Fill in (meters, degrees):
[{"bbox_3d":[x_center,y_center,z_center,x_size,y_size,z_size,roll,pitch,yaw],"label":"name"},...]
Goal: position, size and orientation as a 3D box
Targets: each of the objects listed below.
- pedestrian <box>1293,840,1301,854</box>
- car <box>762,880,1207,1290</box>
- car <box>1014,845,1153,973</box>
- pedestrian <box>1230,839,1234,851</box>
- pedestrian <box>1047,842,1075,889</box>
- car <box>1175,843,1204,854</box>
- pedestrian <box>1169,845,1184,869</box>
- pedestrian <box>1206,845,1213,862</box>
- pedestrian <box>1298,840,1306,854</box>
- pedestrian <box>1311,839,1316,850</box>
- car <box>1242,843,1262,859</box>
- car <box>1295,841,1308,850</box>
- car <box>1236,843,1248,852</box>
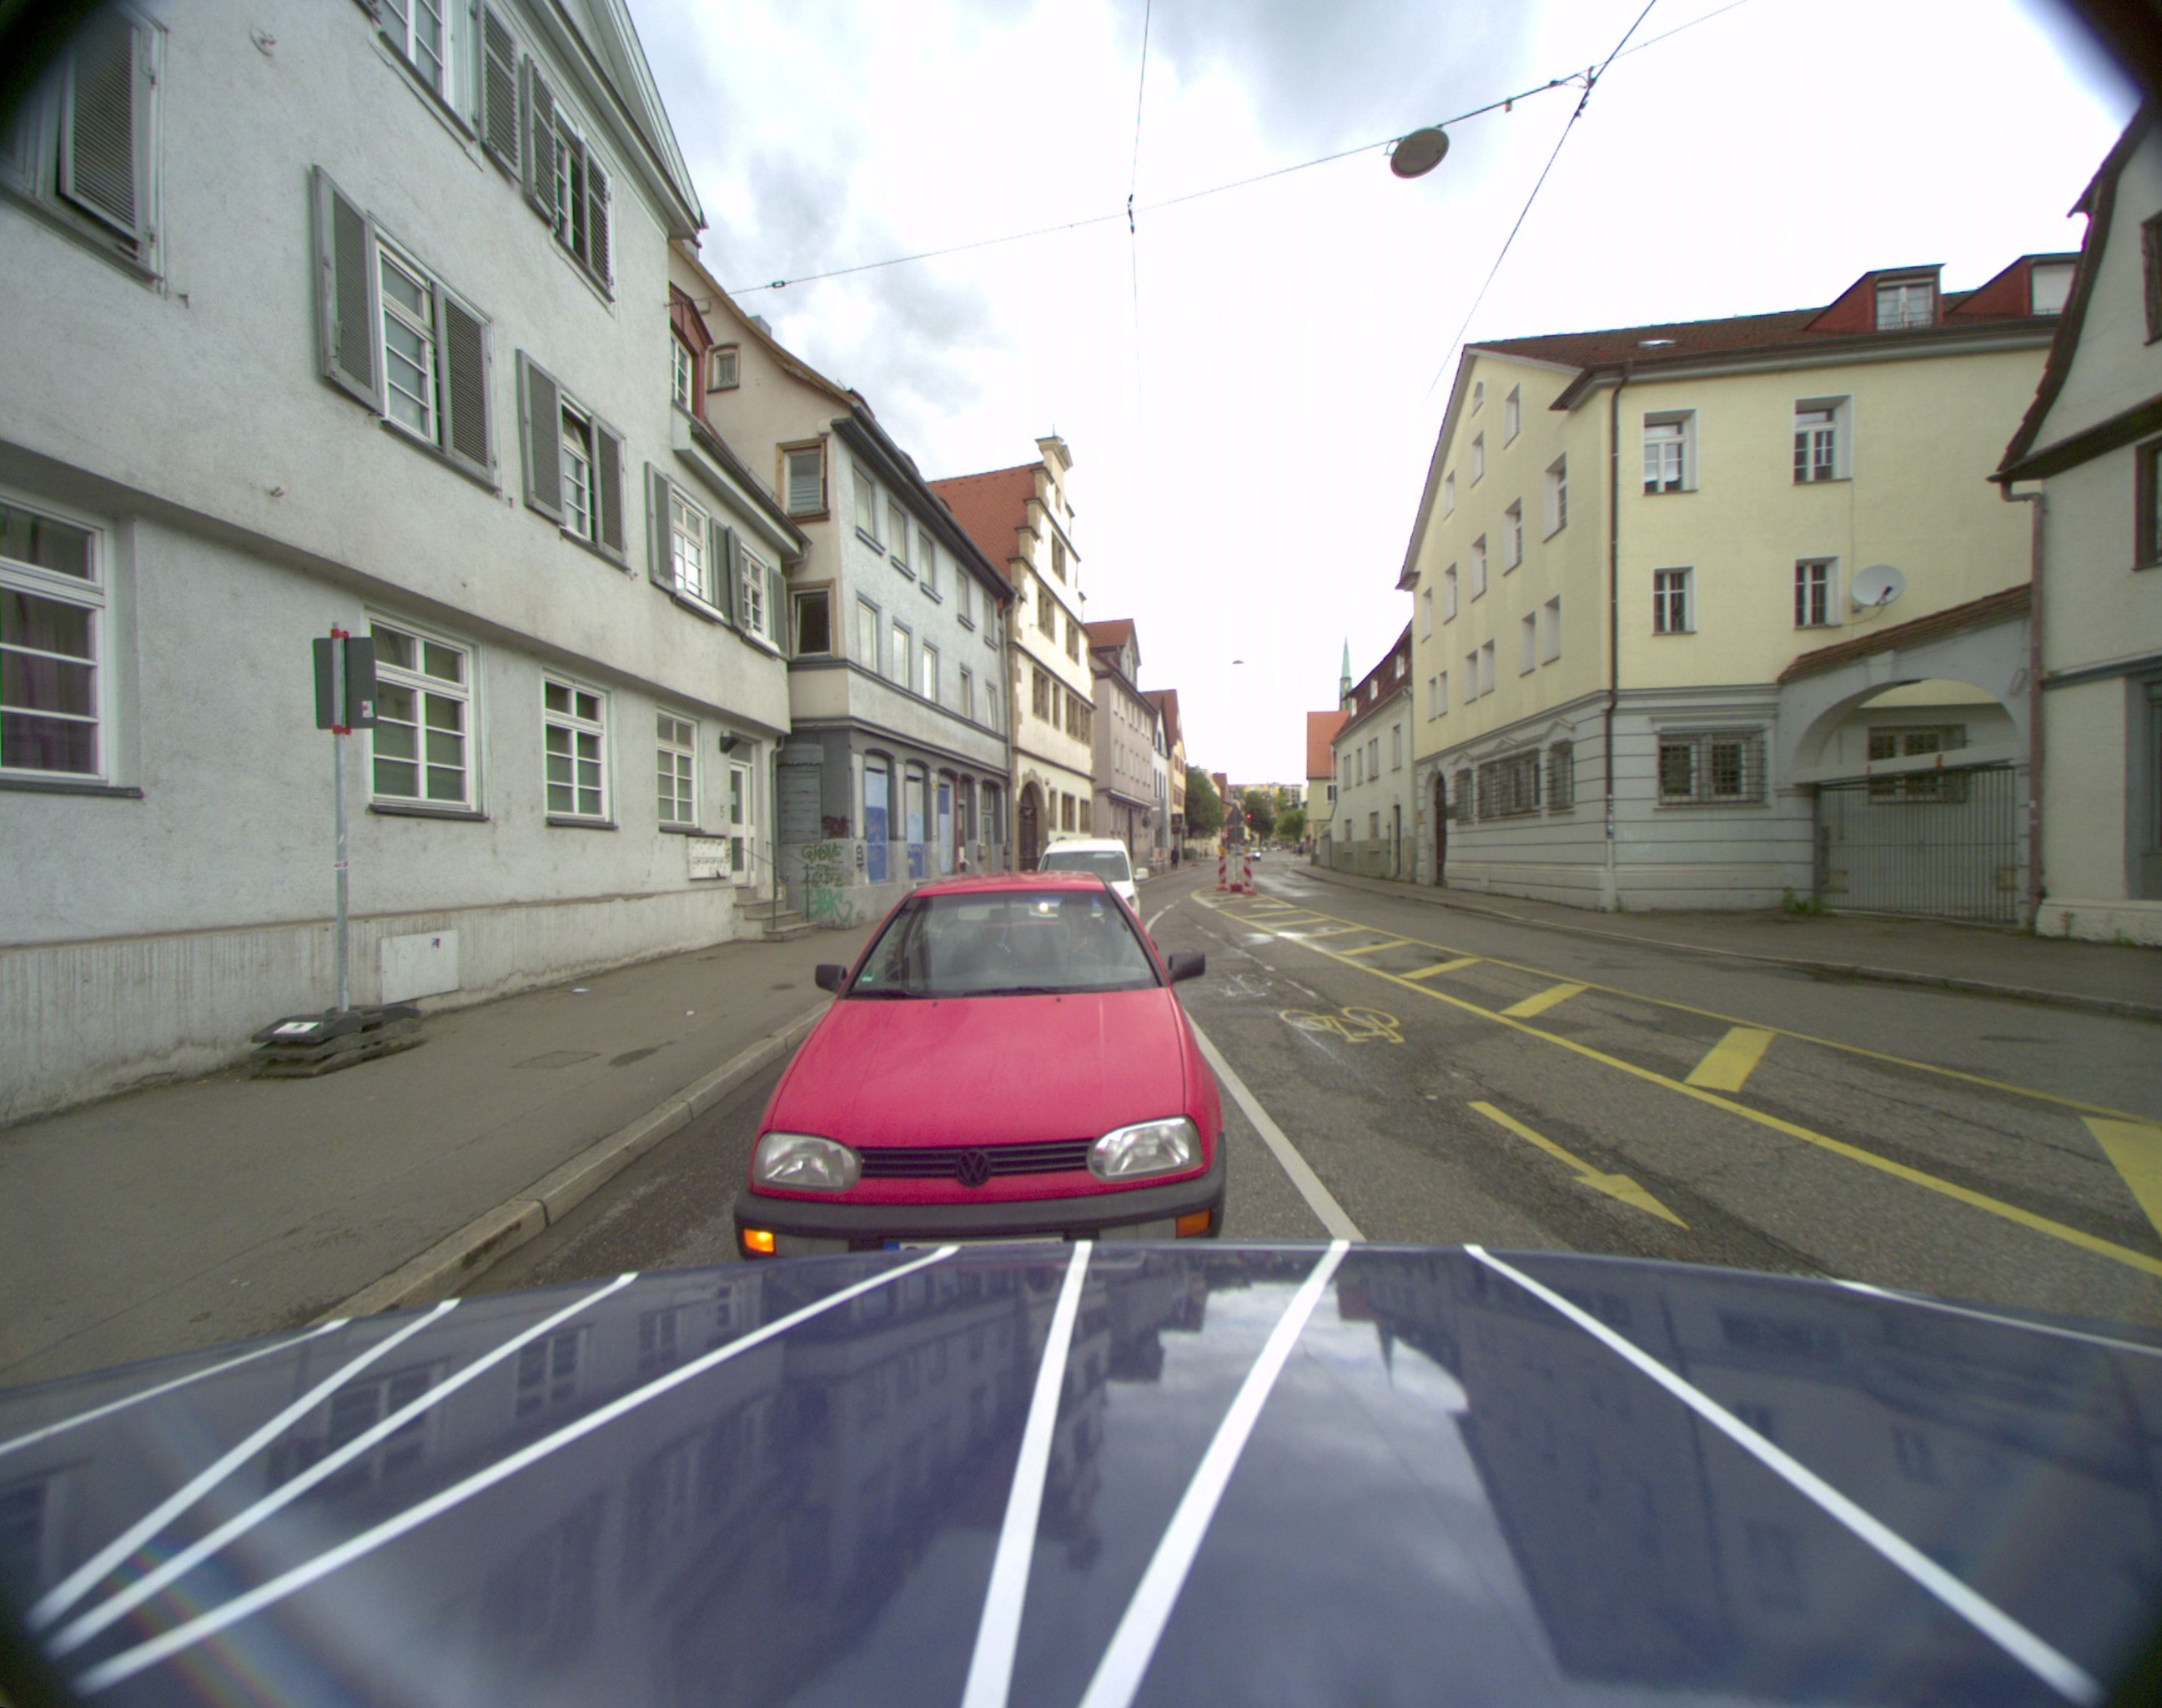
[{"bbox_3d":[32.894,-1.029,115.636,0.784,2.109,0.757,-1,0,-34],"label":"pedestrian"},{"bbox_3d":[-0.340,0.963,4.941,1.685,1.418,4.021,-1,0,1],"label":"car"},{"bbox_3d":[0.120,0.764,13.172,1.998,1.777,4.466,0,2,2],"label":"car"},{"bbox_3d":[27.610,-1.695,138.529,0.660,2.103,0.646,-1,1,14],"label":"pedestrian"},{"bbox_3d":[-0.723,0.425,27.631,0.756,1.658,0.810,2,1,15],"label":"pedestrian"},{"bbox_3d":[16.305,-0.853,113.623,3.992,1.455,2.002,-1,1,17],"label":"car"},{"bbox_3d":[6.602,0.206,52.494,0.833,1.646,0.945,-1,0,15],"label":"pedestrian"},{"bbox_3d":[17.657,-0.100,104.325,0.901,2.297,0.821,-1,0,13],"label":"pedestrian"},{"bbox_3d":[33.473,-1.029,114.934,0.784,2.109,0.757,-1,0,-36],"label":"pedestrian"},{"bbox_3d":[41.249,-1.648,134.821,0.835,2.002,0.846,-1,0,13],"label":"pedestrian"},{"bbox_3d":[18.720,-0.369,83.029,1.996,1.669,4.004,-1,1,15],"label":"car"},{"bbox_3d":[42.664,-1.631,146.792,2.210,1.668,4.502,0,1,14],"label":"car"},{"bbox_3d":[28.330,-1.086,133.615,2.031,1.546,4.004,0,1,14],"label":"car"}]
